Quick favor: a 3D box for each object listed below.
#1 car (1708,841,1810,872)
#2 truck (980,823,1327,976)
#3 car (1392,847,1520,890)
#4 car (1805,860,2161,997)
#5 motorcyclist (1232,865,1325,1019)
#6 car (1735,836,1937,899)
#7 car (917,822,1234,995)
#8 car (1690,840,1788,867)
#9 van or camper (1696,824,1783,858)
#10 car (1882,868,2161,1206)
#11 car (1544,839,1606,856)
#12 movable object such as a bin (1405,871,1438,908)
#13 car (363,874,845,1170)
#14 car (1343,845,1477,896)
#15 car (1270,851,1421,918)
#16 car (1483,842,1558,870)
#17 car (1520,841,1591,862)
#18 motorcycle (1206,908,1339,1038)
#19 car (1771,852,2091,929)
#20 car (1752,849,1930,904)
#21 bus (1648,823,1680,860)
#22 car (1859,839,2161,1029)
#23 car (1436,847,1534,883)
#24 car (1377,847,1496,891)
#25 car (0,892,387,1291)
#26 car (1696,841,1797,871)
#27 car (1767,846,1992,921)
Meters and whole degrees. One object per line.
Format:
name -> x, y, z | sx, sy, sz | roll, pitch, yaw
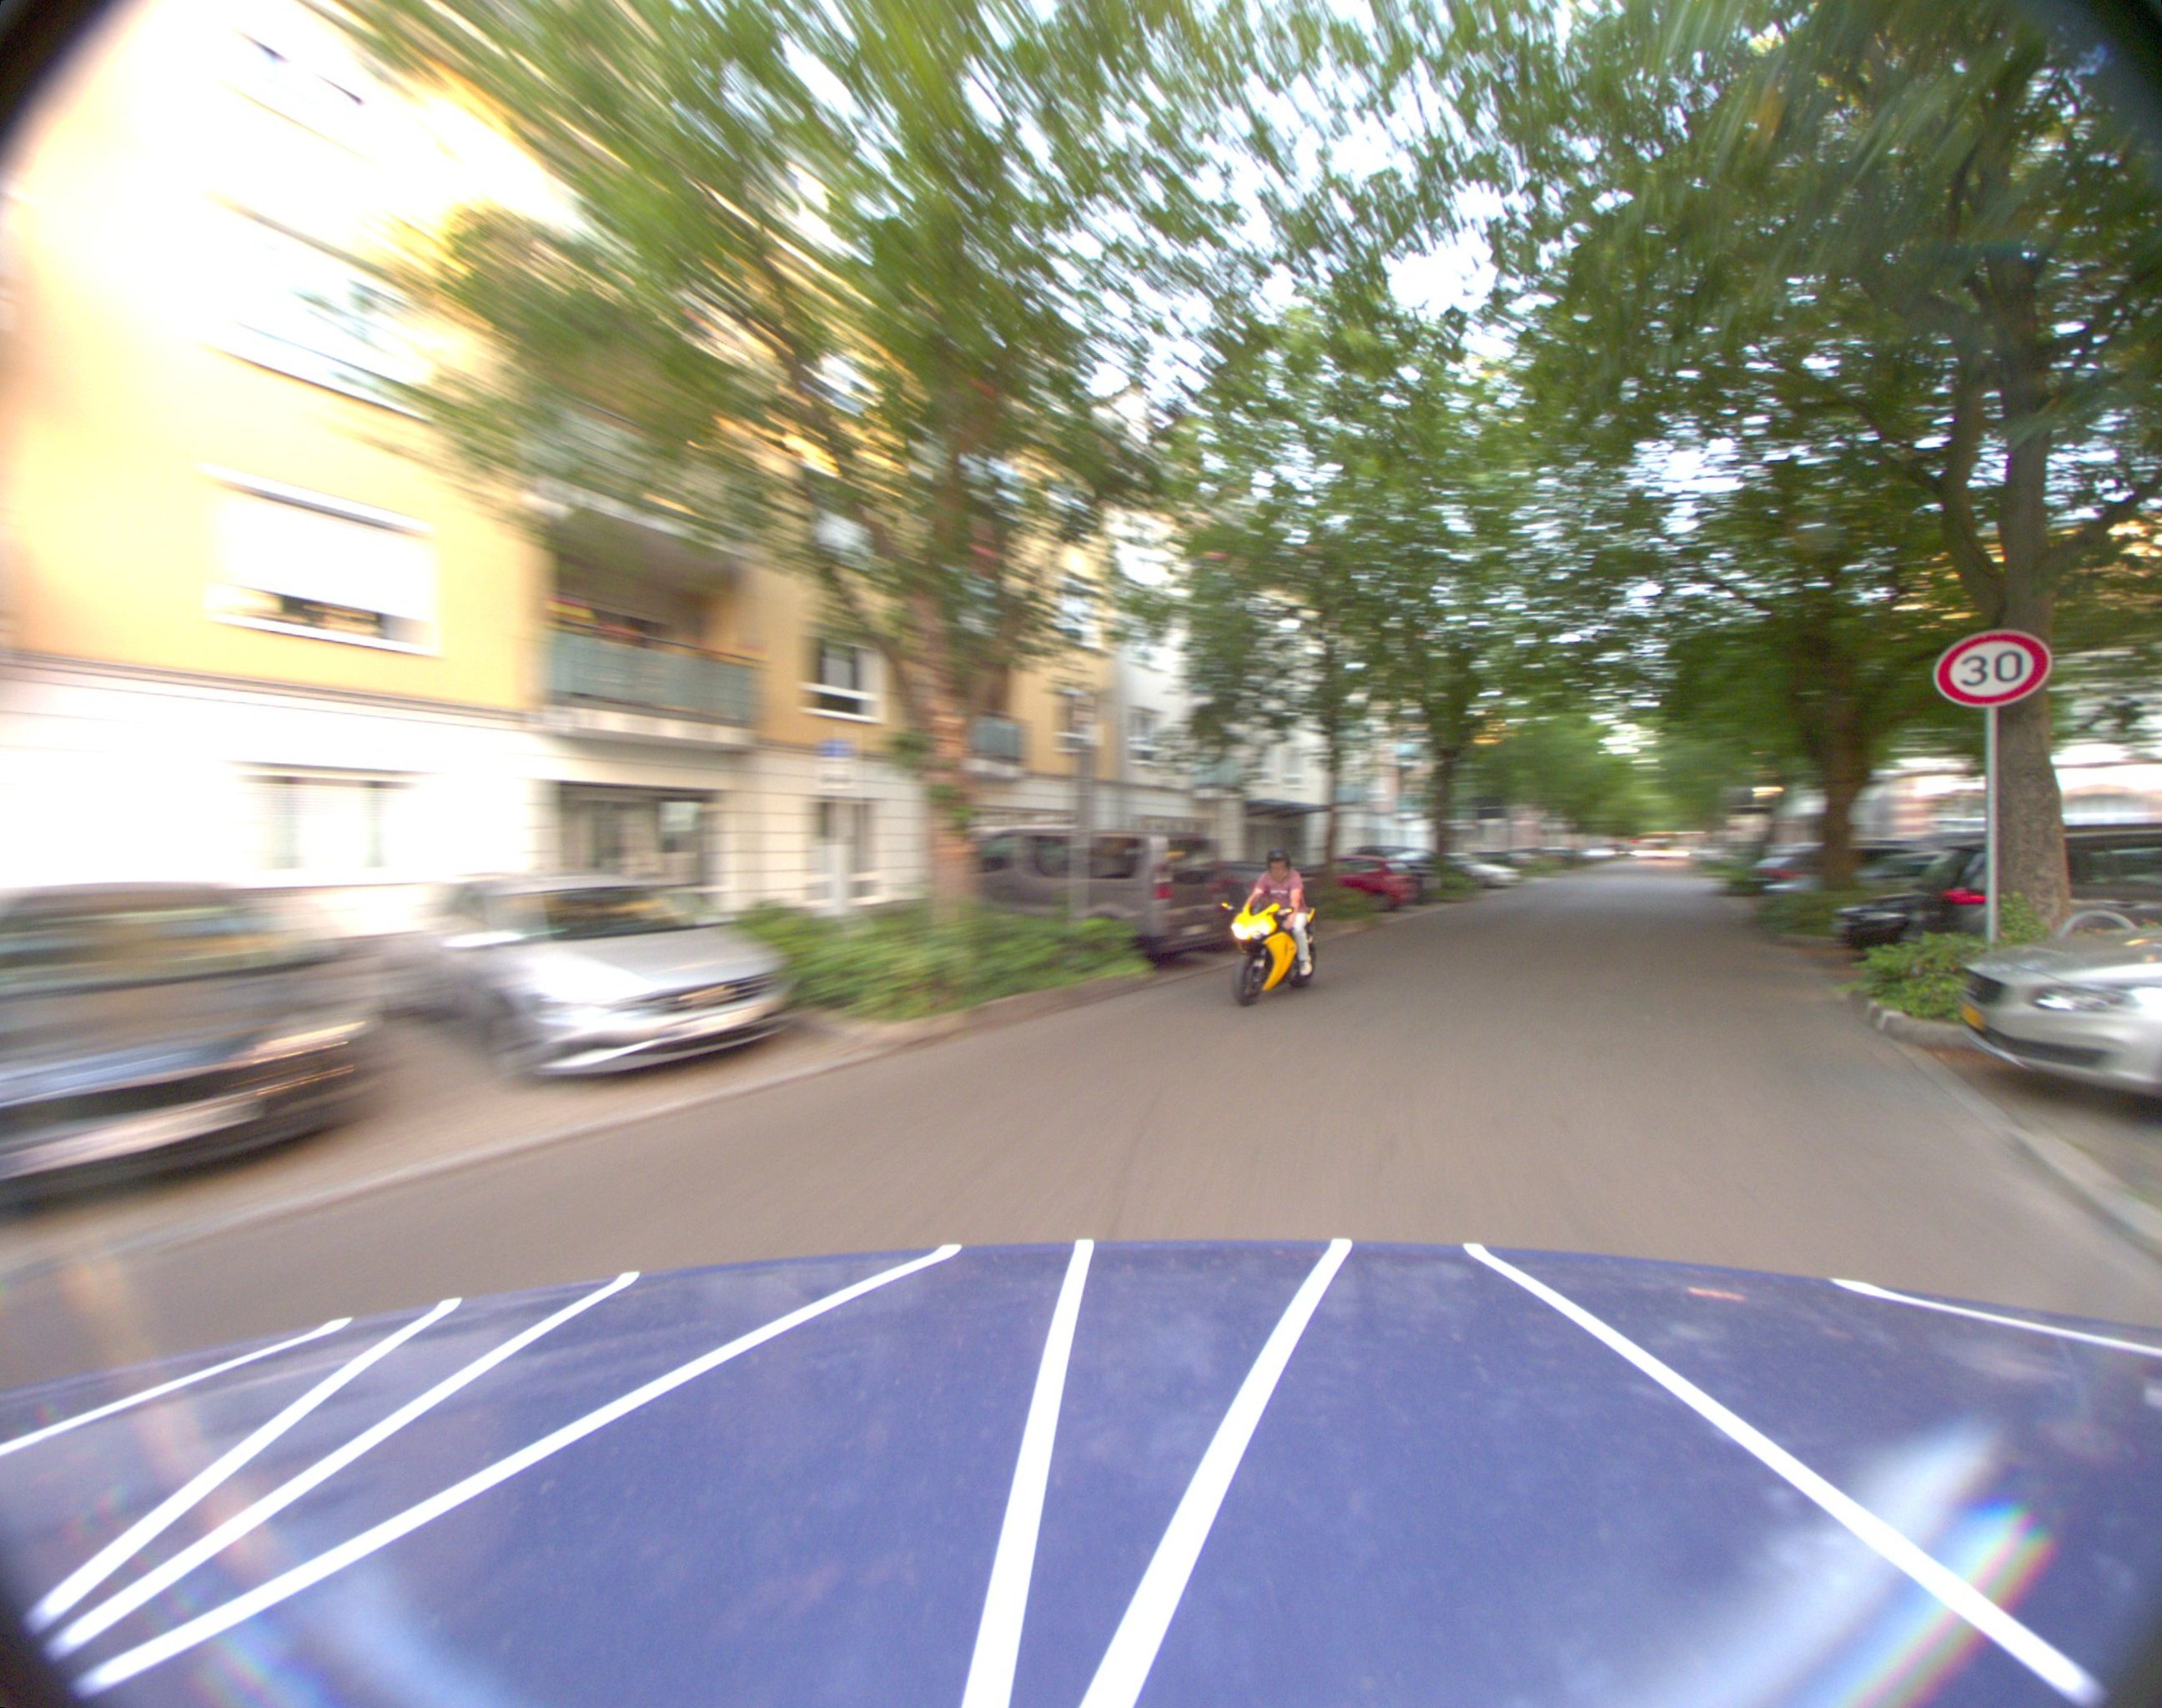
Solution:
car -> 36.635, 0.142, 41.201 | 3.989, 1.582, 1.792 | -2, 0, 37
truck -> 1.108, 0.588, 13.986 | 6.004, 2.121, 2.265 | 4, 3, 37
car -> 15.871, 0.559, 32.255 | 4.573, 1.543, 1.776 | 2, 2, 37
car -> 12.111, 0.822, 9.095 | 4.718, 1.416, 2.076 | -2, 0, 35
motorcyclist -> 2.247, 0.946, 8.597 | 0.720, 1.605, 0.917 | -1, 1, 35
car -> 24.472, 0.446, 24.903 | 4.420, 1.881, 2.004 | -2, 0, 37
car -> -0.219, 0.626, 11.899 | 4.620, 2.121, 2.040 | 4, 3, 37
car -> 41.396, -0.022, 47.955 | 4.537, 1.673, 1.625 | 0, 1, 34
van or camper -> 49.359, -0.960, 57.099 | 4.819, 2.413, 1.949 | 0, 1, 38
car -> 7.226, 0.851, 3.546 | 4.501, 1.572, 2.059 | -3, -1, 38
car -> 45.298, -0.617, 69.747 | 4.584, 1.462, 1.699 | 1, 2, 39
movable object such as a bin -> 10.193, 1.046, 22.749 | 0.775, 1.061, 0.590 | -1, 1, 37
car -> -4.375, 1.057, 6.642 | 4.798, 1.694, 1.840 | -1, 0, 36
car -> 12.365, 0.559, 28.592 | 4.385, 1.694, 1.899 | 2, 2, 30
car -> 7.501, 0.799, 21.674 | 3.664, 1.540, 1.784 | 3, 4, 35
car -> 27.998, 0.103, 48.400 | 3.863, 1.657, 1.930 | 2, 2, 37
car -> 36.587, -0.185, 58.643 | 4.358, 1.462, 1.735 | 3, 3, 42
motorcycle -> 2.207, 1.242, 8.523 | 0.734, 1.115, 2.112 | -1, 0, 35
car -> 17.187, 0.739, 15.721 | 4.102, 1.371, 1.750 | -3, -1, 35
car -> 21.714, 0.626, 21.912 | 3.406, 1.434, 1.597 | -1, 0, 35
bus -> 67.491, -1.373, 87.945 | 2.827, 4.086, 7.847 | 0, 1, 37
car -> 10.836, 0.691, 7.261 | 4.399, 1.674, 2.068 | -3, -1, 35
car -> 19.540, 0.489, 36.800 | 3.988, 1.466, 1.917 | 3, 3, 33
car -> 14.196, 0.558, 30.448 | 3.987, 1.517, 1.730 | 3, 3, 39
car -> -6.030, 1.085, 4.597 | 4.069, 1.554, 1.857 | -1, 0, 36
car -> 36.235, 0.123, 41.522 | 3.989, 1.579, 1.832 | -1, 0, 35
car -> 18.700, 0.650, 18.038 | 3.406, 1.600, 1.764 | -1, 0, 35
